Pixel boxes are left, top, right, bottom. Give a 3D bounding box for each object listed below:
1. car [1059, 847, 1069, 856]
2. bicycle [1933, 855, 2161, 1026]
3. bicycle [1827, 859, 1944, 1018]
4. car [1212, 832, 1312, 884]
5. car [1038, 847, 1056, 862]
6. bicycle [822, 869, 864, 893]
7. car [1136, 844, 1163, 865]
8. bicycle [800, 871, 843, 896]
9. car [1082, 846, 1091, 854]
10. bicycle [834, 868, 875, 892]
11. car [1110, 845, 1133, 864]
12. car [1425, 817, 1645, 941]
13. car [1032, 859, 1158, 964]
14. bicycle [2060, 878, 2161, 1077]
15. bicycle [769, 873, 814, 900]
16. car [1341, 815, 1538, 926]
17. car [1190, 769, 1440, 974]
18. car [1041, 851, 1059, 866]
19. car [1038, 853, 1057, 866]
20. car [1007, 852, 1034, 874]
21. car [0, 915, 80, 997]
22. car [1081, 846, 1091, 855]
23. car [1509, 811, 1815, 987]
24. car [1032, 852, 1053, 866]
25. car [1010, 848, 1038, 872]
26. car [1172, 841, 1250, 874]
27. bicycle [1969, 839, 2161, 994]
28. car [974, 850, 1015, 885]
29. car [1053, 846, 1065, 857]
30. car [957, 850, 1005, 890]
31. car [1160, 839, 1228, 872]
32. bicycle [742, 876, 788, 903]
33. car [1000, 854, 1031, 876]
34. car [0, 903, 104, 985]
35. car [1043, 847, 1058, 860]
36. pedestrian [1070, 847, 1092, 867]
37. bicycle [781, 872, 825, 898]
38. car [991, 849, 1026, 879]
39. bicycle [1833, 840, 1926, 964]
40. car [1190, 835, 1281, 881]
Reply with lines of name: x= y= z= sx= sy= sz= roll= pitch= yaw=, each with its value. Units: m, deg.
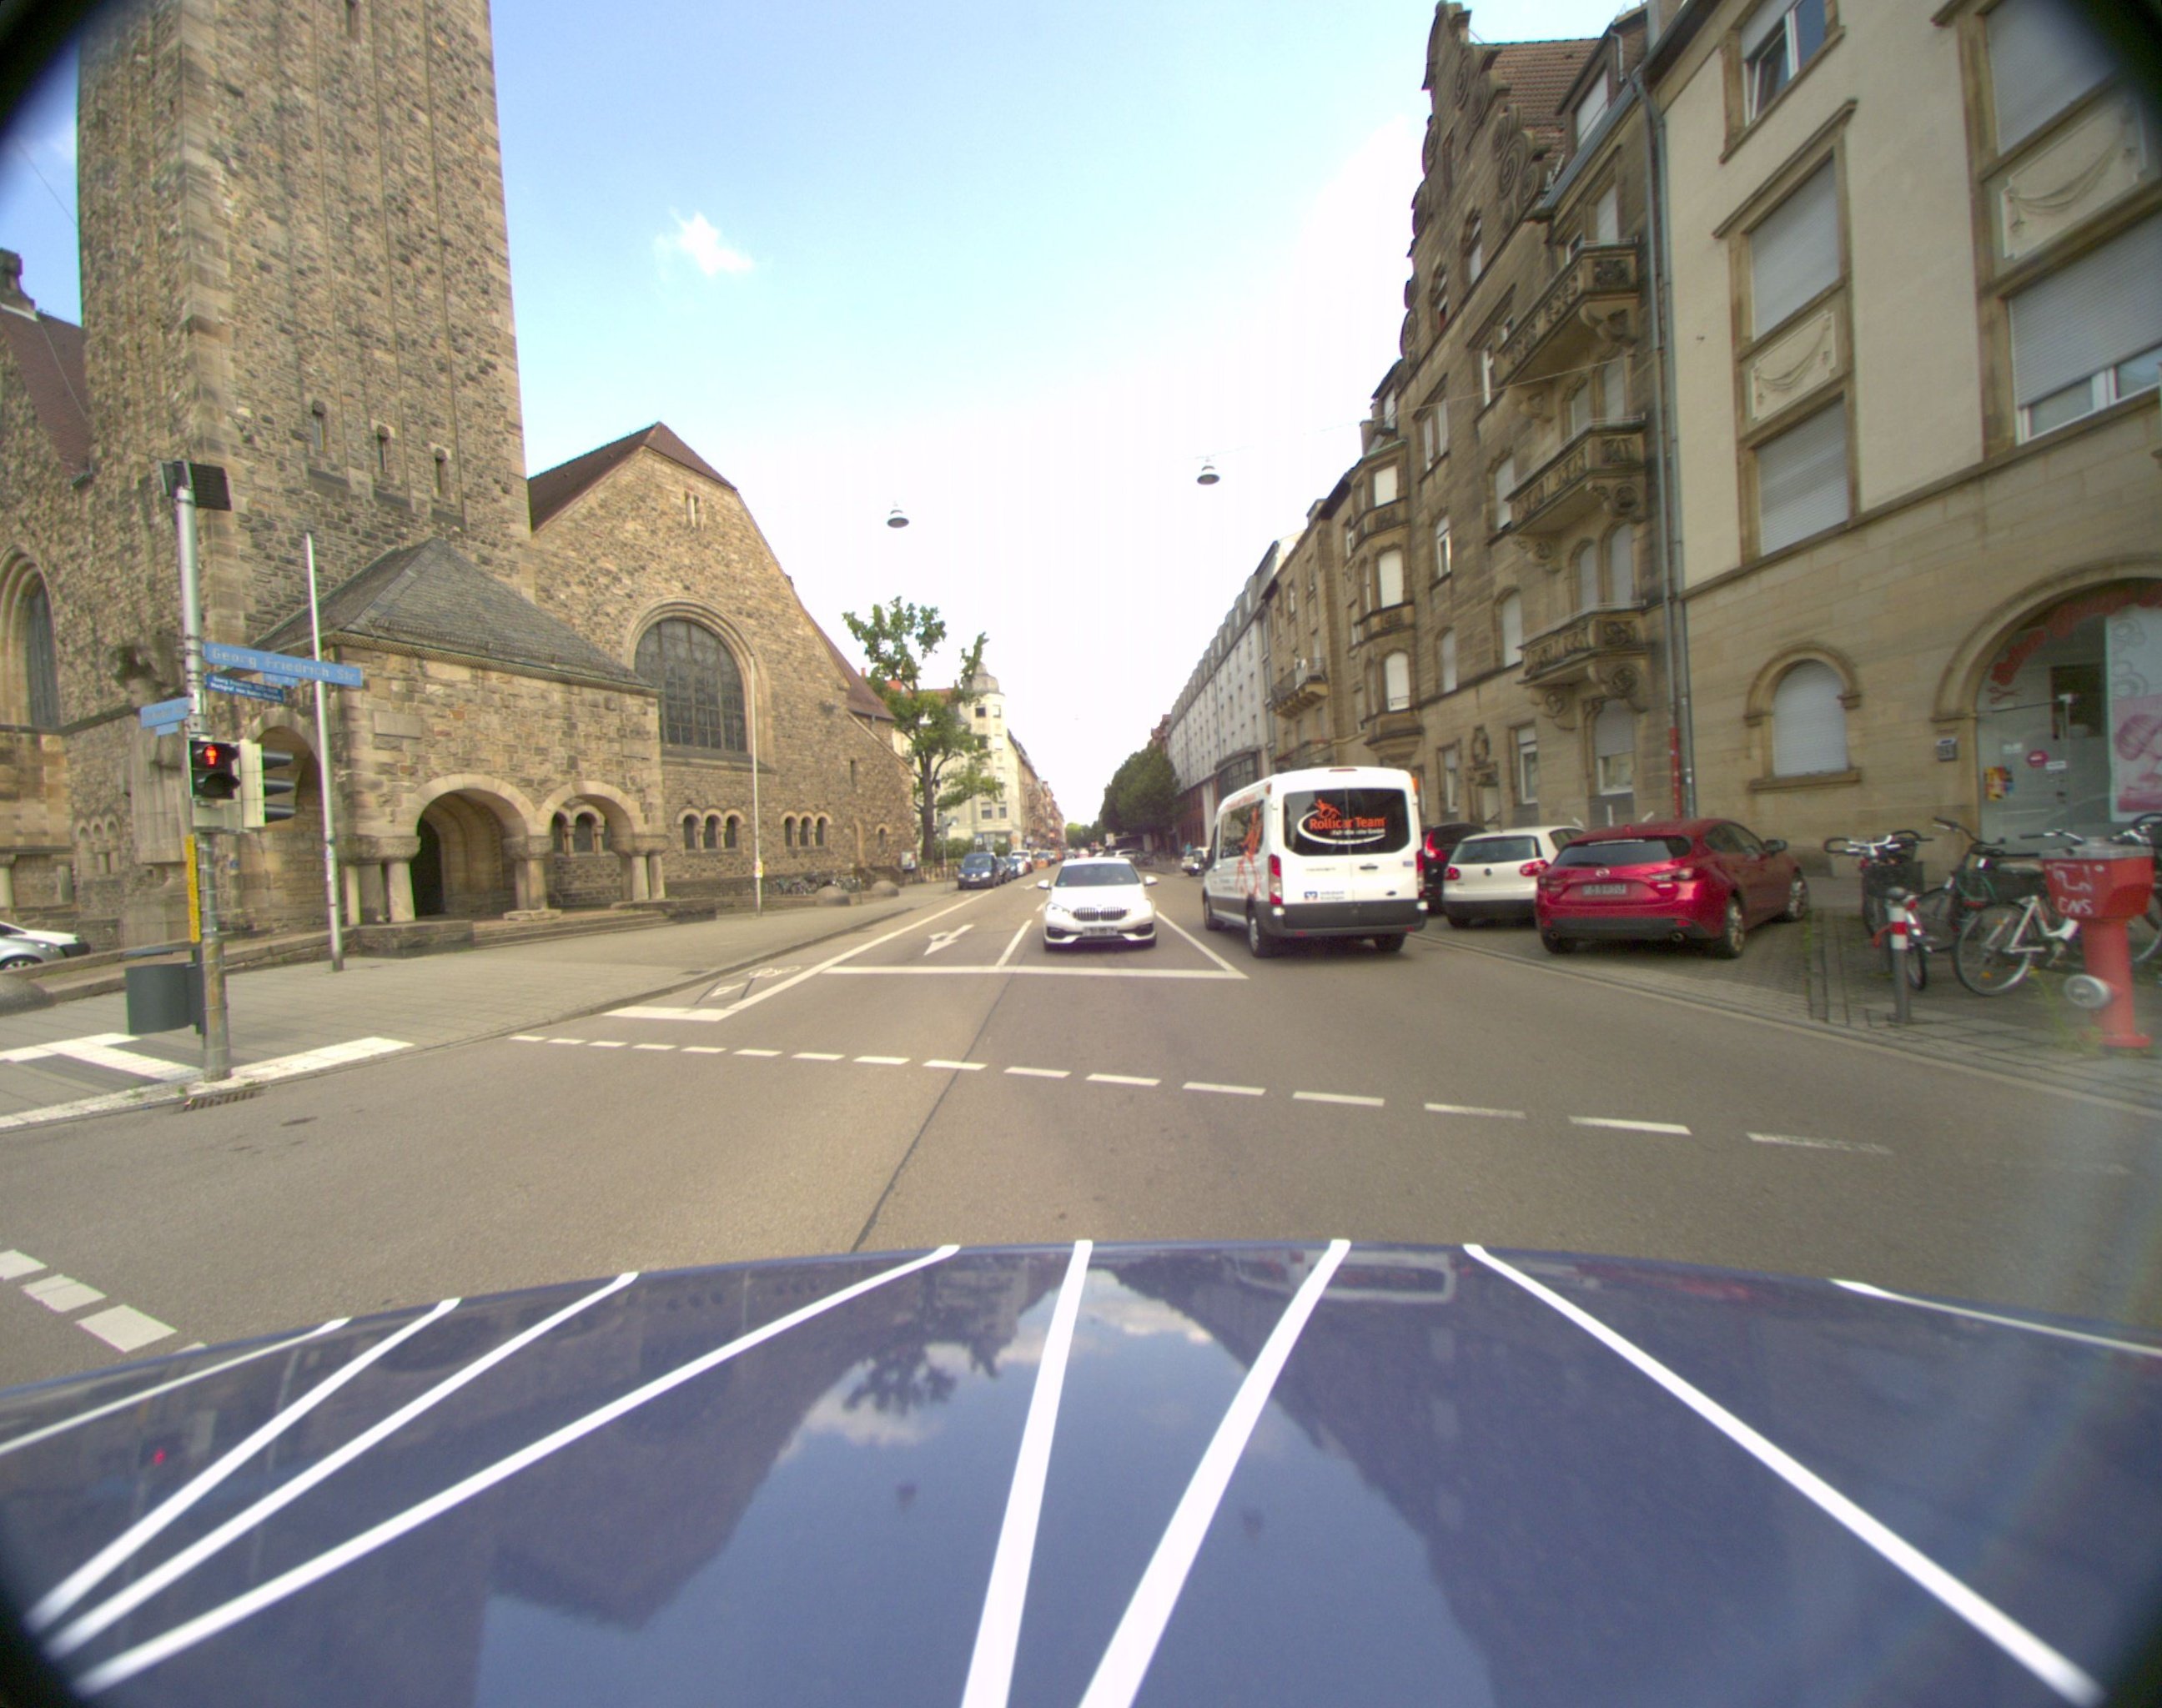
car: x=-3.647 y=-0.543 z=163.612 sx=1.809 sy=1.756 sz=4.186 roll=-3 pitch=0 yaw=2
bicycle: x=7.158 y=0.596 z=5.481 sx=1.483 sy=1.046 sz=0.462 roll=-5 pitch=1 yaw=-2
bicycle: x=6.771 y=0.648 z=6.447 sx=1.815 sy=1.046 sz=0.556 roll=-6 pitch=1 yaw=-45
car: x=7.339 y=0.139 z=30.680 sx=3.959 sy=1.576 sz=1.727 roll=-8 pitch=1 yaw=-39
car: x=-4.333 y=-0.007 z=97.075 sx=1.809 sy=1.756 sz=4.186 roll=-3 pitch=0 yaw=2
bicycle: x=-11.522 y=1.305 z=36.771 sx=1.935 sy=1.106 sz=0.587 roll=0 pitch=3 yaw=22
car: x=5.558 y=0.048 z=61.995 sx=1.891 sy=1.556 sz=3.890 roll=-3 pitch=0 yaw=2
bicycle: x=-12.067 y=1.363 z=35.311 sx=1.935 sy=1.106 sz=0.587 roll=0 pitch=3 yaw=22
car: x=1.185 y=-0.818 z=157.081 sx=1.809 sy=1.590 sz=4.186 roll=-3 pitch=0 yaw=2
bicycle: x=-11.176 y=1.272 z=37.498 sx=1.935 sy=1.106 sz=0.587 roll=0 pitch=3 yaw=22
car: x=3.666 y=0.021 z=69.501 sx=1.891 sy=1.641 sz=3.890 roll=-3 pitch=0 yaw=2
car: x=7.390 y=0.339 z=12.210 sx=3.960 sy=1.448 sz=1.727 roll=-7 pitch=0 yaw=-40
car: x=0.274 y=0.879 z=13.471 sx=1.826 sy=1.439 sz=4.386 roll=-2 pitch=0 yaw=2
bicycle: x=6.759 y=0.656 z=4.398 sx=1.483 sy=1.046 sz=0.462 roll=-6 pitch=1 yaw=1
bicycle: x=-12.874 y=1.436 z=33.792 sx=1.935 sy=1.106 sz=0.587 roll=0 pitch=3 yaw=22
car: x=7.112 y=0.289 z=14.926 sx=3.960 sy=1.679 sz=1.799 roll=-7 pitch=0 yaw=-39
car: x=3.267 y=0.246 z=12.205 sx=2.081 sy=2.430 sz=5.945 roll=-2 pitch=-1 yaw=0
car: x=-3.745 y=0.476 z=92.524 sx=1.809 sy=1.675 sz=4.186 roll=-3 pitch=0 yaw=2
car: x=-3.903 y=0.642 z=88.110 sx=1.809 sy=1.360 sz=4.186 roll=-3 pitch=0 yaw=2
car: x=-4.727 y=0.685 z=59.900 sx=1.683 sy=1.488 sz=3.890 roll=-3 pitch=0 yaw=2
car: x=-24.138 y=2.286 z=15.778 sx=1.815 sy=1.668 sz=3.643 roll=-5 pitch=-1 yaw=22
car: x=1.034 y=-0.685 z=149.755 sx=1.809 sy=1.590 sz=4.186 roll=-3 pitch=0 yaw=2
car: x=7.051 y=0.416 z=9.083 sx=4.005 sy=1.448 sz=1.808 roll=-6 pitch=0 yaw=-37
car: x=-4.182 y=0.549 z=82.691 sx=1.809 sy=1.360 sz=4.186 roll=-3 pitch=0 yaw=2
car: x=-4.783 y=0.475 z=64.212 sx=1.844 sy=1.927 sz=4.186 roll=-3 pitch=0 yaw=2
car: x=6.831 y=0.175 z=39.712 sx=3.961 sy=1.465 sz=1.727 roll=-4 pitch=1 yaw=-39
bicycle: x=8.323 y=0.474 z=6.116 sx=1.631 sy=1.046 sz=0.558 roll=-6 pitch=1 yaw=0
car: x=-4.891 y=0.729 z=43.620 sx=1.683 sy=1.780 sz=4.000 roll=-3 pitch=0 yaw=2
car: x=-4.063 y=-0.416 z=139.537 sx=1.809 sy=1.901 sz=4.186 roll=-3 pitch=0 yaw=2
car: x=-4.971 y=0.769 z=38.366 sx=1.683 sy=1.780 sz=4.145 roll=-3 pitch=0 yaw=2
car: x=6.915 y=0.097 z=46.441 sx=3.960 sy=1.576 sz=1.727 roll=-6 pitch=-1 yaw=-39
bicycle: x=-13.446 y=1.496 z=32.322 sx=1.935 sy=1.106 sz=0.587 roll=0 pitch=3 yaw=22
car: x=-4.665 y=0.756 z=54.698 sx=1.683 sy=1.438 sz=3.798 roll=-3 pitch=0 yaw=2
car: x=-26.943 y=2.280 z=17.959 sx=1.996 sy=1.842 sz=4.312 roll=-5 pitch=-1 yaw=25
car: x=-4.362 y=-0.052 z=110.117 sx=1.809 sy=1.756 sz=4.186 roll=-3 pitch=0 yaw=2
pedestrian: x=0.001 y=0.269 z=68.589 sx=1.316 sy=1.747 sz=1.370 roll=-4 pitch=1 yaw=-34
bicycle: x=-12.591 y=1.408 z=34.451 sx=1.935 sy=1.106 sz=0.587 roll=0 pitch=3 yaw=22
car: x=-4.708 y=0.626 z=49.850 sx=1.683 sy=1.780 sz=4.000 roll=-3 pitch=0 yaw=2
bicycle: x=8.346 y=0.454 z=7.963 sx=1.908 sy=1.046 sz=0.556 roll=-6 pitch=1 yaw=-44
car: x=6.952 y=0.155 z=34.015 sx=3.960 sy=1.576 sz=1.727 roll=-7 pitch=0 yaw=-39
